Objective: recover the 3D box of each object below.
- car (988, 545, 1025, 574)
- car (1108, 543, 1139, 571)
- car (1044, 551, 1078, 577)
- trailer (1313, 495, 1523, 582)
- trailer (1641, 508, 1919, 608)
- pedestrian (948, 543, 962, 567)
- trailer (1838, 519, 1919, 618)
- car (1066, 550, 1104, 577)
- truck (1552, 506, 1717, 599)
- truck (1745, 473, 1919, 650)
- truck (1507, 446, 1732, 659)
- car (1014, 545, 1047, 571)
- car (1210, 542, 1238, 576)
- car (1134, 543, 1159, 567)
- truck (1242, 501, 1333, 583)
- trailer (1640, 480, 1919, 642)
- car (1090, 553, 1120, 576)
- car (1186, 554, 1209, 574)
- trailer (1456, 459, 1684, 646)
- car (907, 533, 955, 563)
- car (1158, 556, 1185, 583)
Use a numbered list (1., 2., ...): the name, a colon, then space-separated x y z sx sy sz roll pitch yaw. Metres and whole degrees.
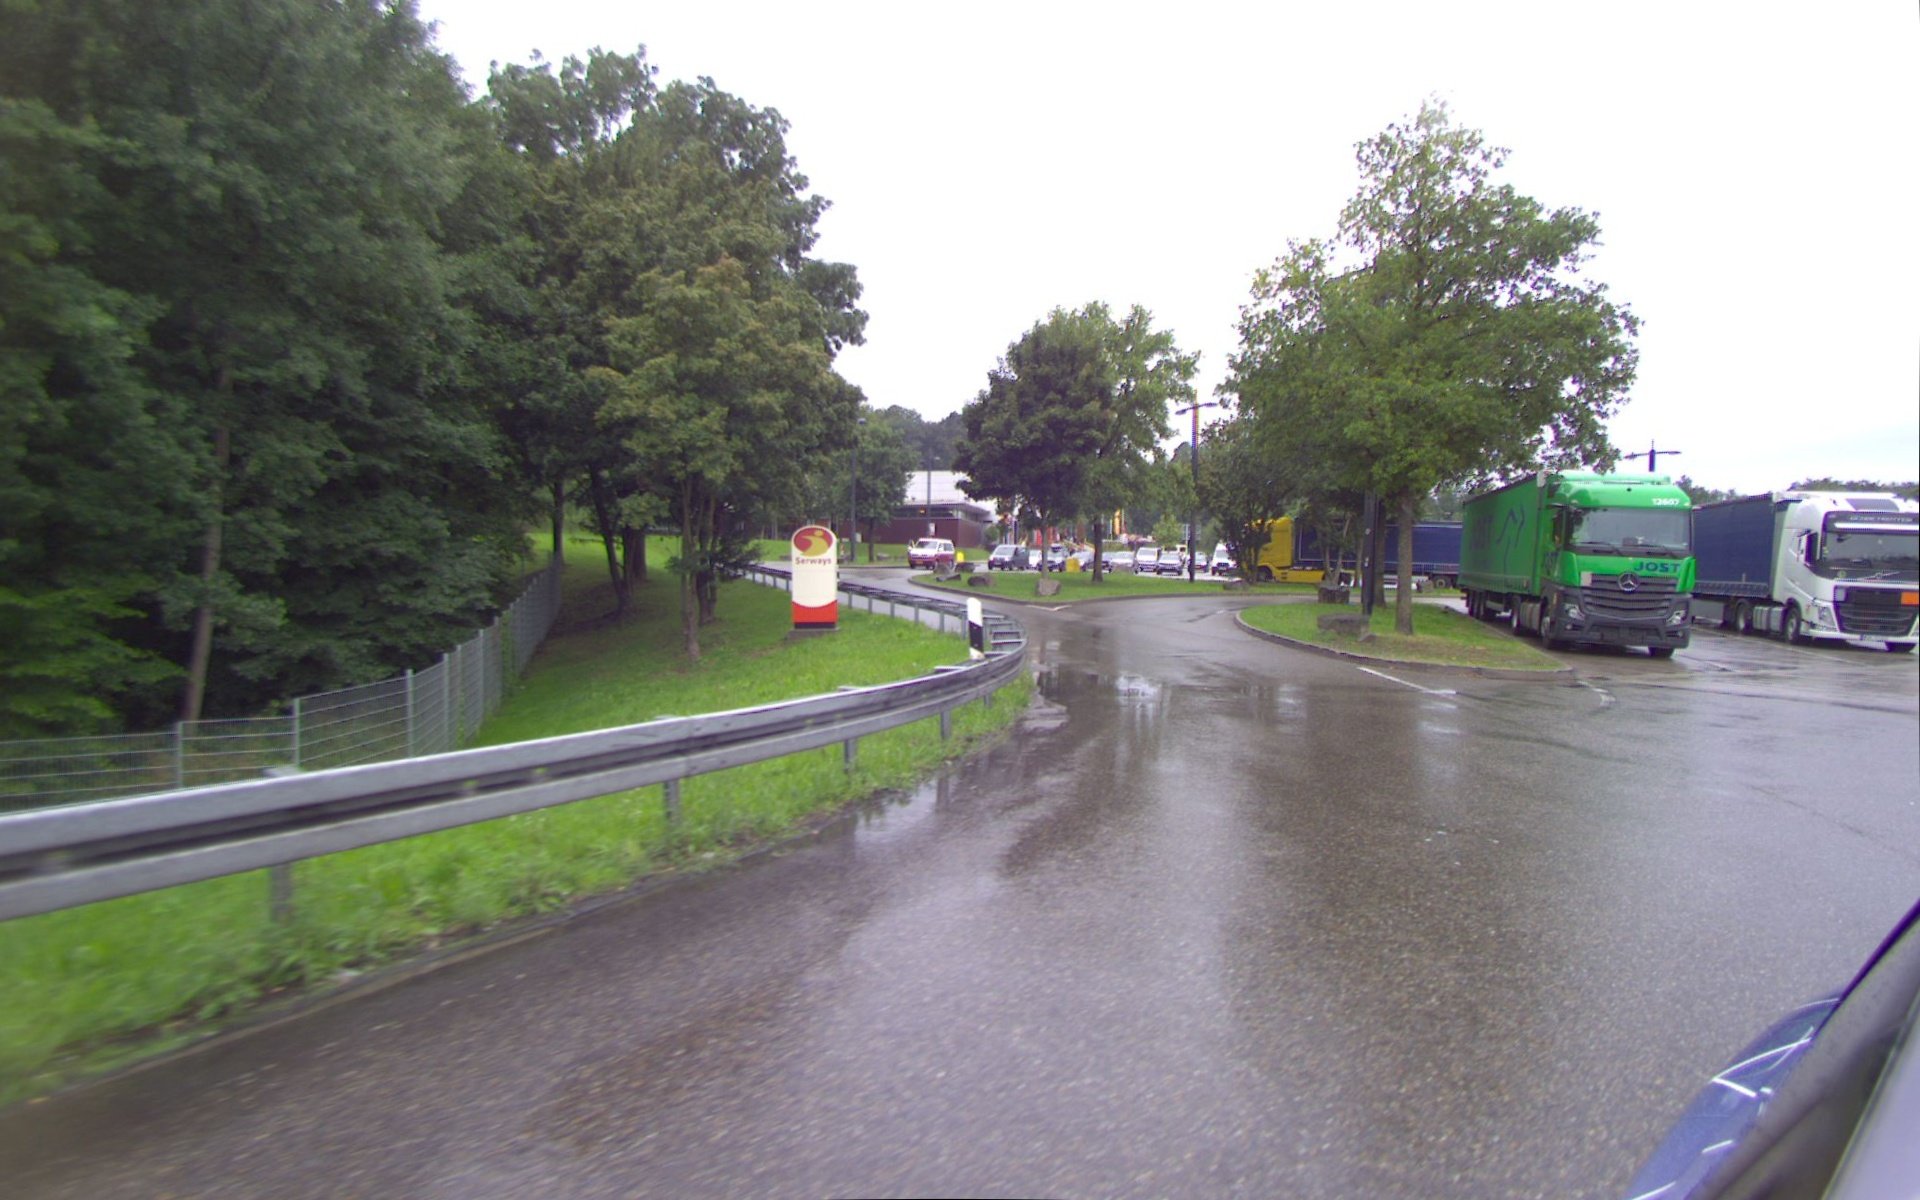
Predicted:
1. car: 3.323 -2.870 72.012 1.793 1.905 3.979 0 0 16
2. car: 12.283 -3.219 76.021 1.830 1.905 3.979 0 0 16
3. car: 7.178 -2.558 71.901 1.734 1.712 3.979 0 0 16
4. trailer: 25.719 -3.334 57.536 10.612 4.609 3.414 0 0 22
5. trailer: 42.087 -2.167 51.255 11.890 4.528 3.237 3 3 21
6. pedestrian: -0.348 -3.171 71.353 0.702 1.679 0.795 1 3 -25
7. trailer: 39.647 -1.187 39.809 2.810 3.966 13.865 3 3 21
8. car: 9.660 -2.808 78.012 1.974 1.910 4.371 3 2 18
9. truck: 35.619 -2.544 53.790 6.458 4.562 3.238 3 3 21
10. truck: 23.485 -1.032 26.684 2.794 4.195 5.267 3 3 21
11. truck: 14.745 -1.120 23.212 2.792 4.199 5.961 3 3 20
12. car: 5.552 -3.254 79.028 1.828 1.905 3.979 0 0 16
13. car: 20.974 -3.244 80.578 1.971 2.543 4.720 3 2 14
14. car: 15.935 -3.815 86.231 1.744 1.905 3.979 0 0 16
15. truck: 19.467 -3.365 60.064 5.017 4.610 3.414 0 0 21
16. trailer: 26.081 -1.366 33.403 2.793 4.221 13.901 3 3 21
17. car: 12.498 -3.074 86.835 1.972 1.821 3.981 3 3 16
18. car: 21.088 -3.176 89.909 1.802 1.697 3.979 0 0 16
19. trailer: 17.093 -1.429 29.689 2.792 4.199 13.884 3 3 19
20. car: -1.902 -3.458 68.114 1.941 1.756 4.520 0 0 16
21. car: 15.915 -2.283 76.078 1.760 1.905 3.979 0 0 16
